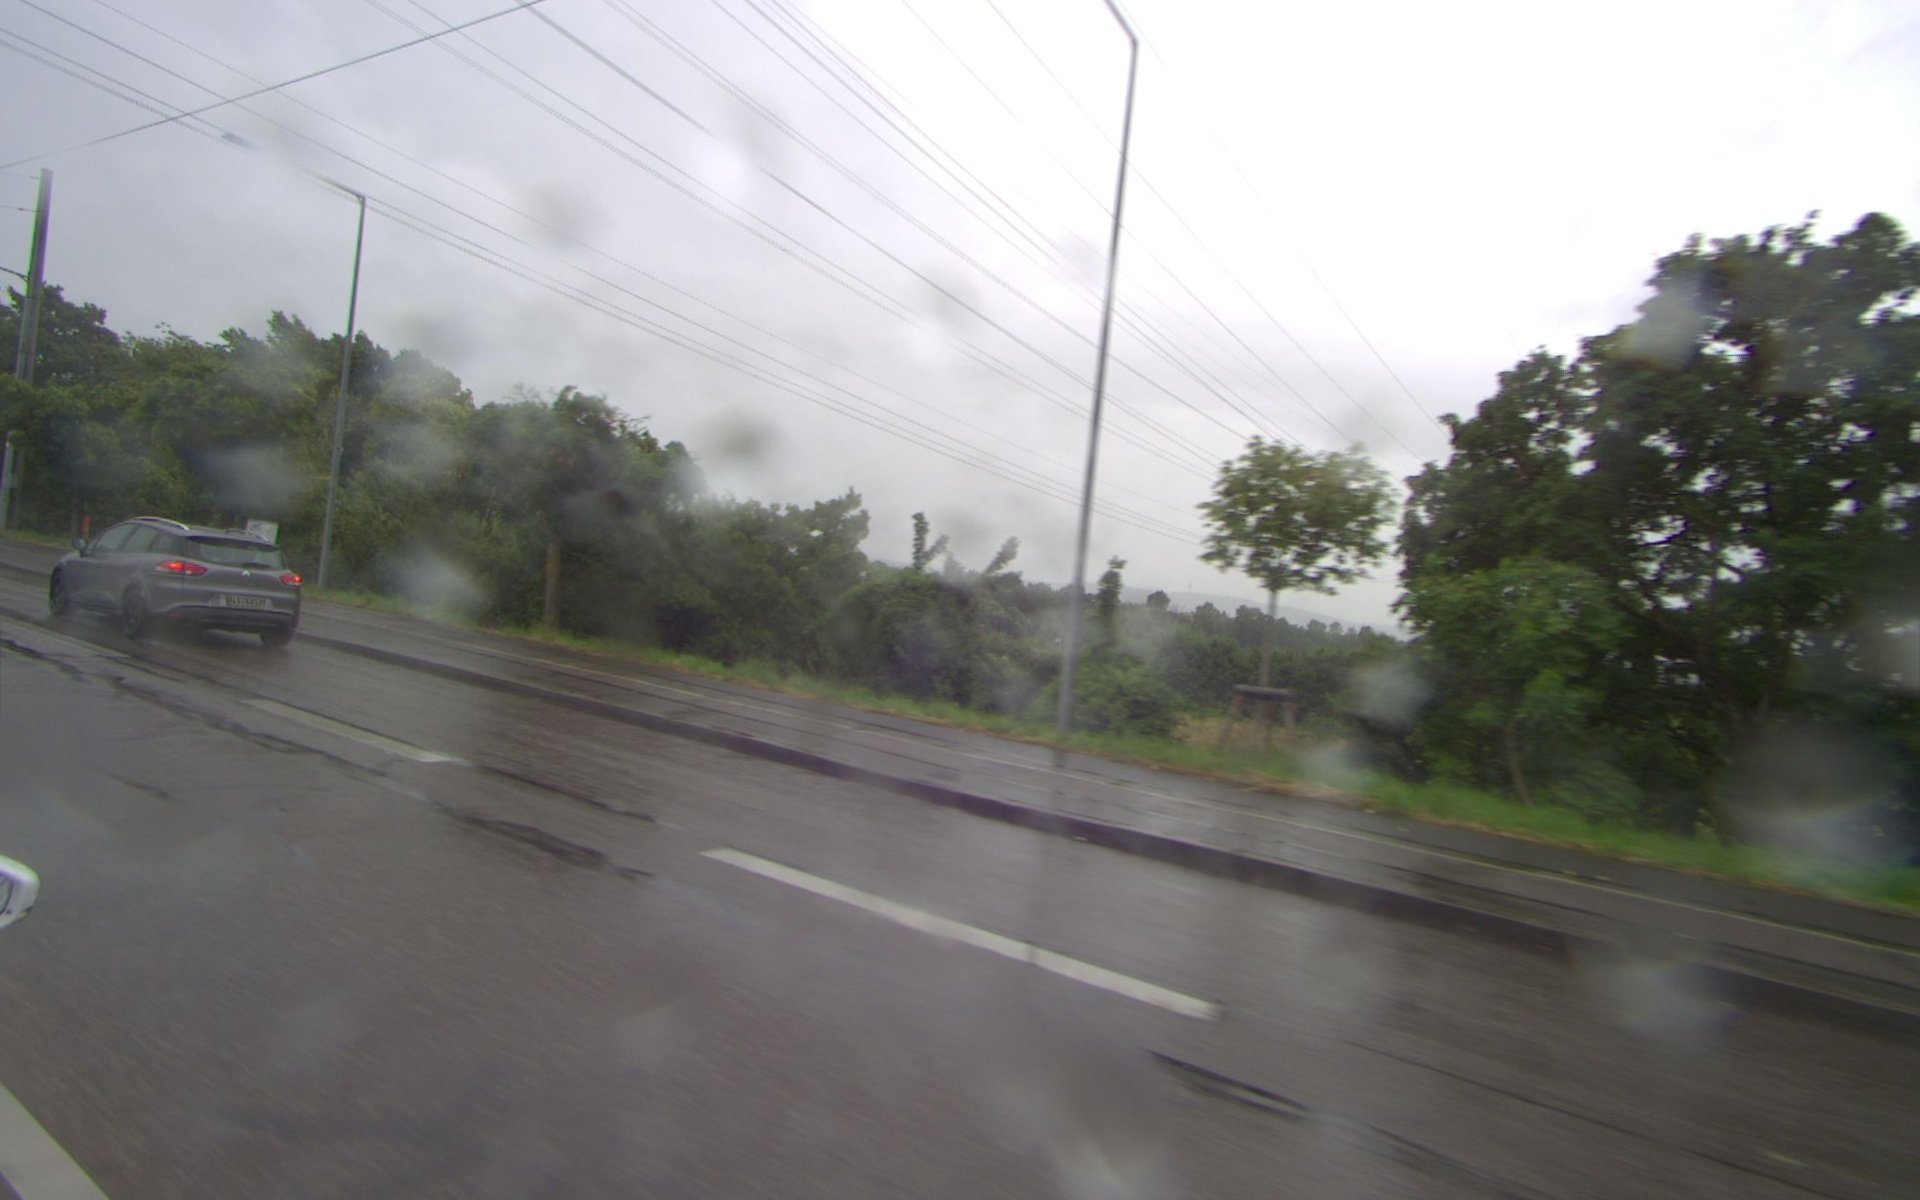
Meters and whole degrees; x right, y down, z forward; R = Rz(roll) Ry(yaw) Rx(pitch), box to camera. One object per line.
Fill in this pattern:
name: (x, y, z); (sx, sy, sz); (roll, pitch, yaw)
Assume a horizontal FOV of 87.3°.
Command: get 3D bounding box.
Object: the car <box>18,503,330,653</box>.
car: (-10.502, -0.317, 13.376); (4.207, 1.373, 1.891); (8, -1, 33)
